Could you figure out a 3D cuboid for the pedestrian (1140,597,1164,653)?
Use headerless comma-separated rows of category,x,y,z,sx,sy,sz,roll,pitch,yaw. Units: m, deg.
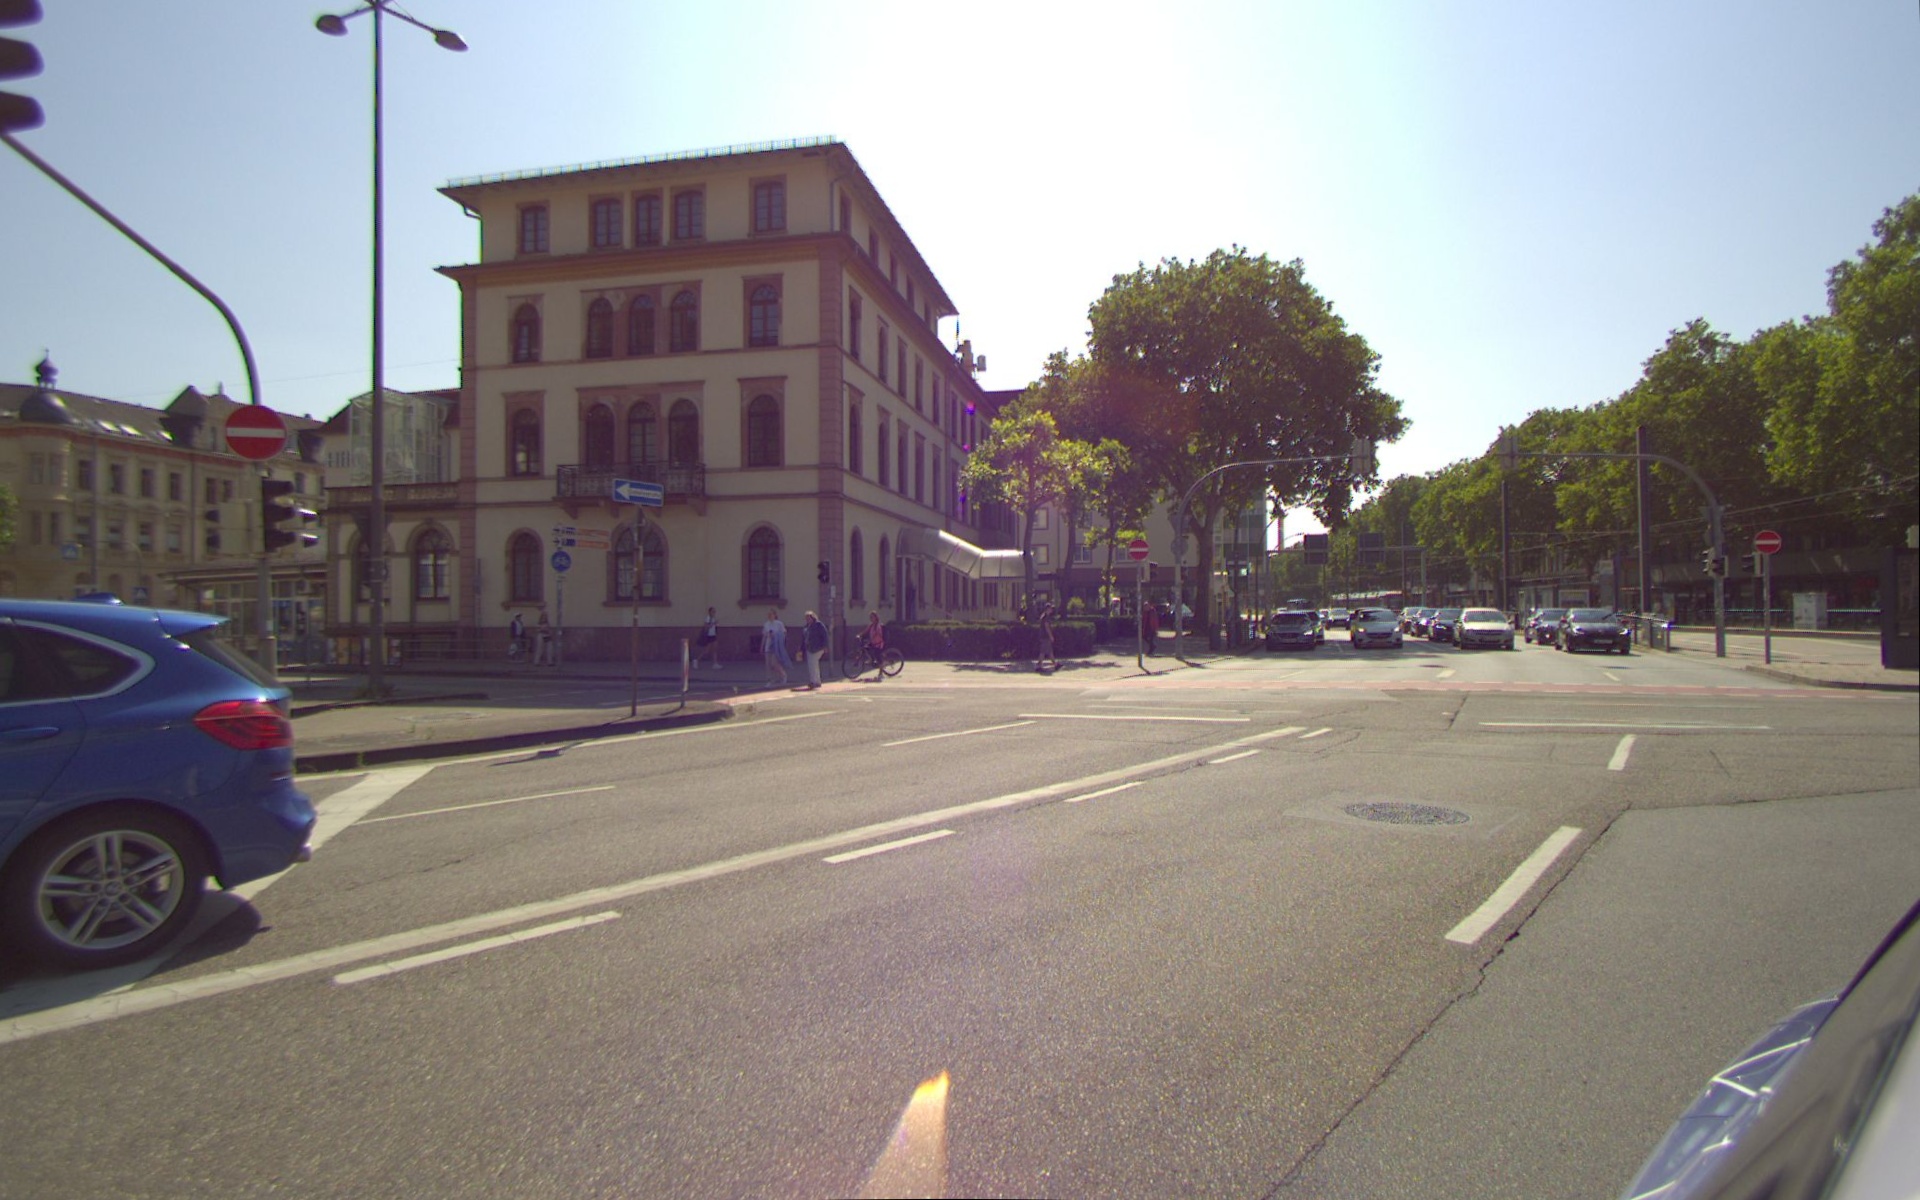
pedestrian,6.430,0.828,33.875,0.717,1.828,0.648,-1,-1,19

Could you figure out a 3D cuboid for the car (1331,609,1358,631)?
car,27.673,1.449,72.811,1.771,1.470,3.945,1,0,21

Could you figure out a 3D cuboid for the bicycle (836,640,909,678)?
bicycle,-2.169,1.455,25.205,1.710,0.866,0.594,0,-1,-30

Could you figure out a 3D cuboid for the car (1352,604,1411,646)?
car,16.030,0.910,38.635,1.769,1.470,3.949,1,0,19

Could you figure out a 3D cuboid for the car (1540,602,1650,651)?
car,21.088,0.835,33.803,1.765,1.470,4.264,1,0,12

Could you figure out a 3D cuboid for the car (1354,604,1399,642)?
car,18.577,0.978,45.187,1.772,1.550,3.944,1,0,22

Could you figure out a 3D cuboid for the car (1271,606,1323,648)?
car,12.920,1.012,38.978,1.768,1.470,3.952,1,0,17

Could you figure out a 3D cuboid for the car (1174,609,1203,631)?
car,14.625,1.280,64.642,1.569,1.339,3.560,-1,-1,17

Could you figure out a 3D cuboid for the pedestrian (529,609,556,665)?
pedestrian,-12.776,1.124,30.968,0.528,1.670,0.576,-1,-1,20

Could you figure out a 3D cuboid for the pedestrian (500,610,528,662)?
pedestrian,-14.456,1.162,32.807,0.527,1.670,0.671,-1,-1,15

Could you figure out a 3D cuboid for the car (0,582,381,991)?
car,-4.835,0.736,3.961,4.200,1.561,1.720,0,-2,-44

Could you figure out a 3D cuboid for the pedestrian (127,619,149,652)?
pedestrian,-41.011,1.763,50.509,0.721,1.624,0.709,-2,-2,40

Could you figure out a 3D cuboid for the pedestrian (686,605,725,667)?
pedestrian,-7.159,1.012,28.457,0.830,1.717,0.742,-1,-1,11

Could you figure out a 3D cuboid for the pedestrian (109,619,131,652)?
pedestrian,-41.189,1.729,49.632,0.721,1.624,0.709,-2,-2,40

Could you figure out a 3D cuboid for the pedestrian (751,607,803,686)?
pedestrian,-3.979,0.989,22.037,0.748,1.681,0.820,-1,-1,31

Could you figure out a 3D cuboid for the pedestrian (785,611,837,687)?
pedestrian,-3.209,1.047,21.870,0.767,1.592,0.820,-1,-1,32

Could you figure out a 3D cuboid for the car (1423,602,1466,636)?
car,23.498,0.901,49.179,1.773,1.543,3.939,1,0,25

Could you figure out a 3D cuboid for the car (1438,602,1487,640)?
car,21.713,0.854,43.840,1.773,1.543,3.939,1,0,25

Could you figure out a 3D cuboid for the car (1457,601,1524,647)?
car,19.112,0.839,36.602,1.700,1.519,4.456,1,-1,22

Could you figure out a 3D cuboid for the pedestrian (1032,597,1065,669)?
pedestrian,2.313,0.851,26.493,0.714,1.869,0.593,0,-1,-10

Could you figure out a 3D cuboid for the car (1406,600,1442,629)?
car,26.104,0.812,56.910,1.773,1.543,3.939,1,0,25

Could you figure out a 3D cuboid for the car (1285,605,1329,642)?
car,15.282,0.998,44.624,1.769,1.545,3.949,1,0,19

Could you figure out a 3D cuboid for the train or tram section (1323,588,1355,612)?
train or tram section,54.139,0.043,144.704,2.692,3.309,8.707,-1,-1,11

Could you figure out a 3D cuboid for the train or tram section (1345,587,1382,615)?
train or tram section,50.771,0.158,127.561,2.692,3.309,8.707,-1,-1,11

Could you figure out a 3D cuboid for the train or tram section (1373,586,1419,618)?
train or tram section,47.487,0.272,110.479,2.692,3.309,8.707,-1,-1,11

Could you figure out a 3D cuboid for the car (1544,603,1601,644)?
car,24.440,0.889,40.487,1.776,1.536,3.933,1,0,29

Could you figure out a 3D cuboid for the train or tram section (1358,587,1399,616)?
train or tram section,49.120,0.215,119.001,2.692,3.309,8.707,-1,-1,11

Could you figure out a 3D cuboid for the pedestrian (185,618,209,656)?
pedestrian,-32.888,1.596,43.623,0.721,1.624,0.709,-2,-2,40

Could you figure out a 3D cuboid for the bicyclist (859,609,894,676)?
bicyclist,-2.093,1.052,25.265,0.670,1.627,0.594,0,-1,-31

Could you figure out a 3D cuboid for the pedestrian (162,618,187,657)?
pedestrian,-33.380,1.579,43.011,0.721,1.624,0.709,-2,-2,40
